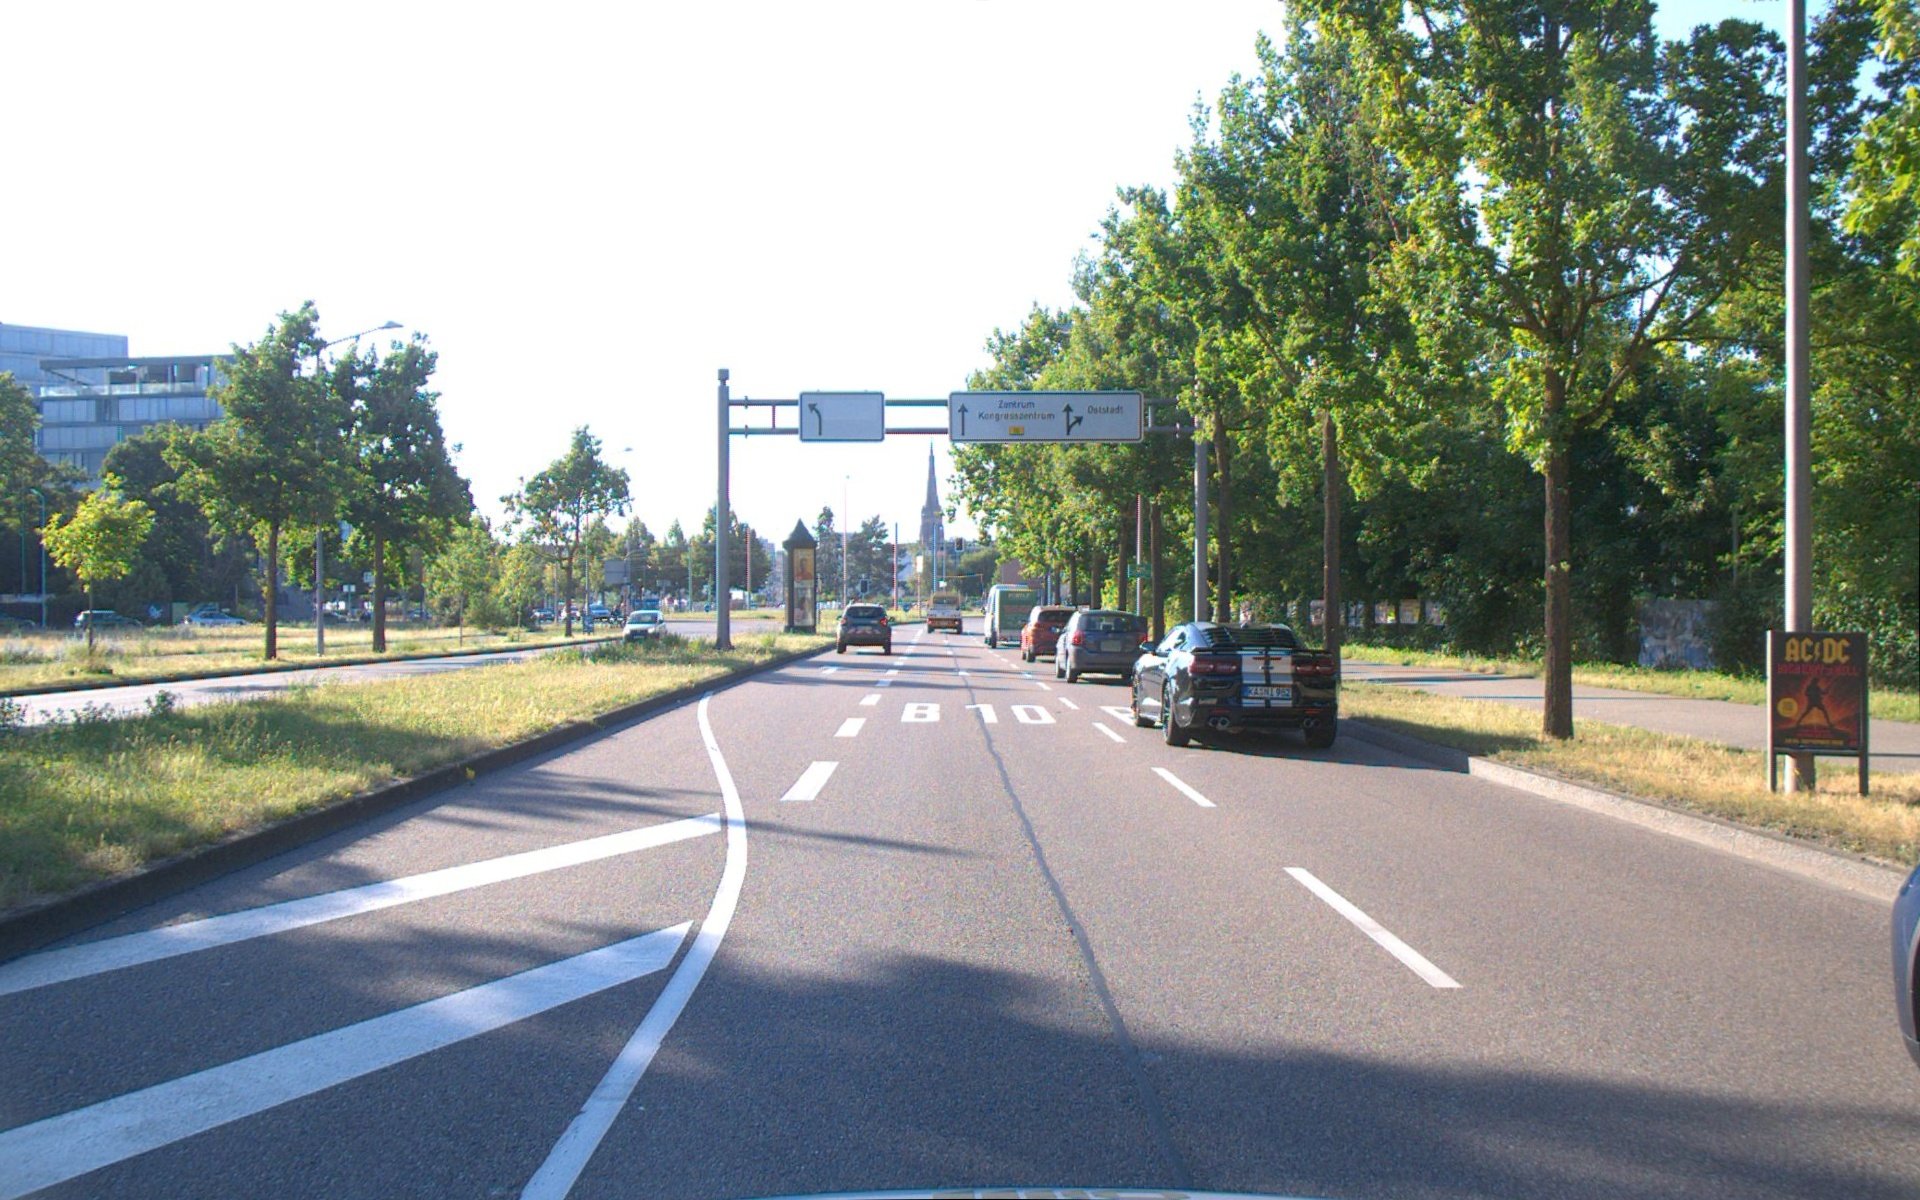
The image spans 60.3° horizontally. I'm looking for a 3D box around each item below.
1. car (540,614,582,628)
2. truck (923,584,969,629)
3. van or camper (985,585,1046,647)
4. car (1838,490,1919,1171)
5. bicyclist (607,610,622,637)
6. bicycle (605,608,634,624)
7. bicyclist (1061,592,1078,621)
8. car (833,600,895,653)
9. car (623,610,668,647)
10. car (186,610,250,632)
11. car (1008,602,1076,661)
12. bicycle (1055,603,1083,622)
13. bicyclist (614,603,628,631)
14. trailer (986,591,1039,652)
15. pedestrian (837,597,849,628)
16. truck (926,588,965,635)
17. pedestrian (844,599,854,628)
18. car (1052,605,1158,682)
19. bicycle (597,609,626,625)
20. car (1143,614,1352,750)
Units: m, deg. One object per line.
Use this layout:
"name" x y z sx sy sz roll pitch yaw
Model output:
"car" -42.839 2.229 177.482 4.047 1.400 1.674 -1 0 10
"truck" -0.882 0.377 99.637 2.529 2.602 6.248 -1 0 -3
"van or camper" 2.457 0.678 74.882 2.239 2.675 6.580 1 0 -2
"car" 3.463 0.590 2.331 1.915 1.757 4.698 1 -1 -1
"bicyclist" -23.119 1.594 110.606 0.795 1.801 0.497 1 0 14
"bicycle" -23.009 1.087 111.701 1.868 1.037 0.505 1 -1 6
"bicyclist" 7.486 0.431 112.844 0.920 1.932 0.599 -2 -1 36
"car" -3.243 0.854 55.393 1.869 1.689 3.994 0 0 -6
"car" -14.067 1.277 74.067 1.531 1.602 3.410 0 0 -4
"car" -51.974 1.459 115.904 3.680 1.534 1.845 -1 0 -44
"car" 2.374 0.901 48.689 1.712 1.649 3.818 1 0 -1
"bicycle" 7.417 0.867 112.887 1.872 1.266 0.607 -2 -1 36
"bicyclist" -22.875 1.149 111.693 0.795 1.820 0.496 1 0 7
"trailer" 2.162 0.863 68.893 2.047 2.442 3.500 1 0 -1
"pedestrian" -7.692 0.798 108.813 0.774 2.049 0.700 0 0 -7
"truck" -0.899 0.664 99.136 2.175 2.697 4.771 0 0 -2
"pedestrian" -7.282 0.876 108.596 0.475 1.876 0.720 -1 -1 7
"car" 3.003 0.873 34.933 1.712 1.499 3.817 -1 0 -3
"bicycle" -23.305 1.158 110.660 1.868 1.037 0.505 1 -1 14
"car" 3.230 0.866 19.426 1.816 1.361 4.626 0 0 2
